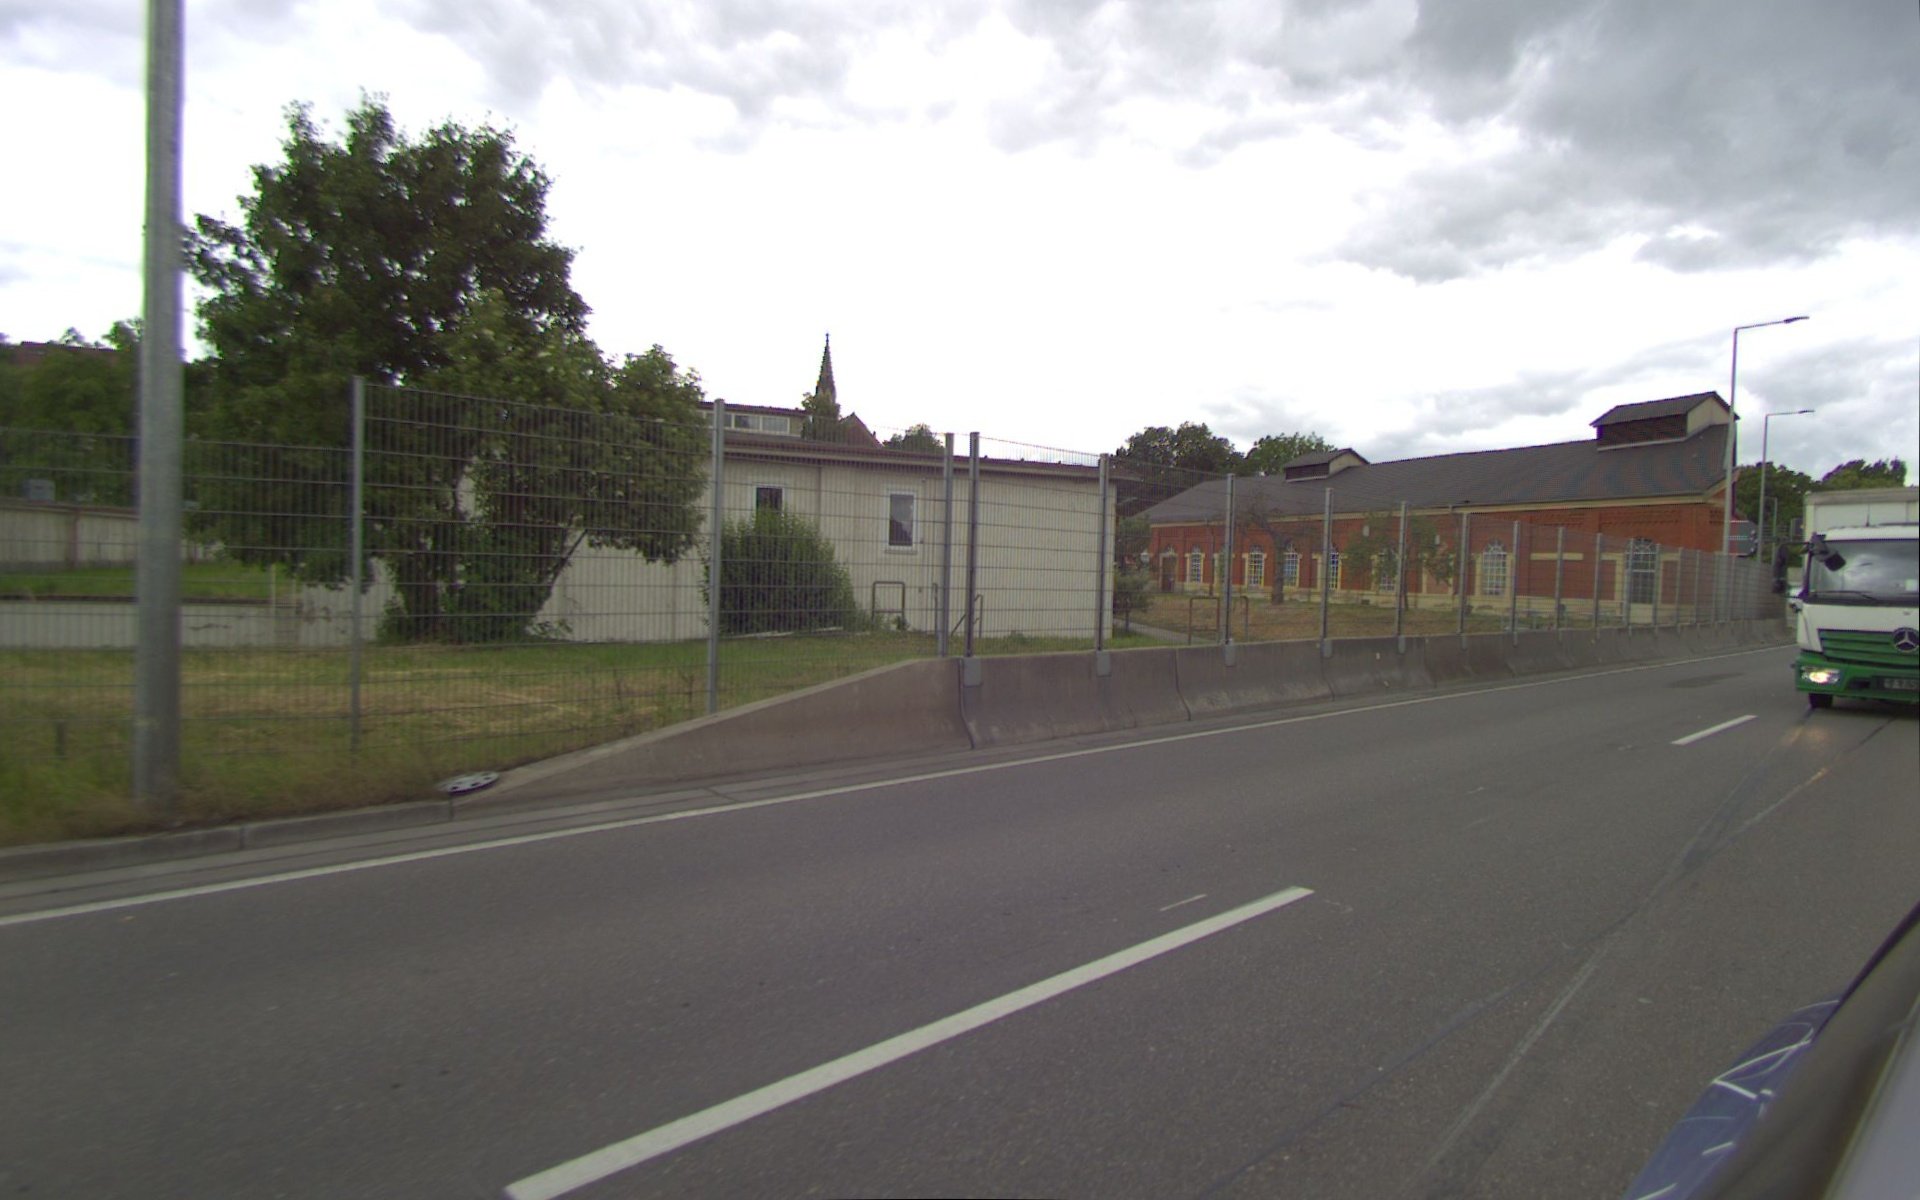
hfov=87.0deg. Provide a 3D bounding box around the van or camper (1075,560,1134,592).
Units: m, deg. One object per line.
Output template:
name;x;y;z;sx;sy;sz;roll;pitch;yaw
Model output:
van or camper;10.172;-1.705;71.649;1.958;2.172;4.579;0;1;-24

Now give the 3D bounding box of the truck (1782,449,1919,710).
truck;14.724;-0.249;15.253;7.290;3.280;2.632;0;-1;-43
